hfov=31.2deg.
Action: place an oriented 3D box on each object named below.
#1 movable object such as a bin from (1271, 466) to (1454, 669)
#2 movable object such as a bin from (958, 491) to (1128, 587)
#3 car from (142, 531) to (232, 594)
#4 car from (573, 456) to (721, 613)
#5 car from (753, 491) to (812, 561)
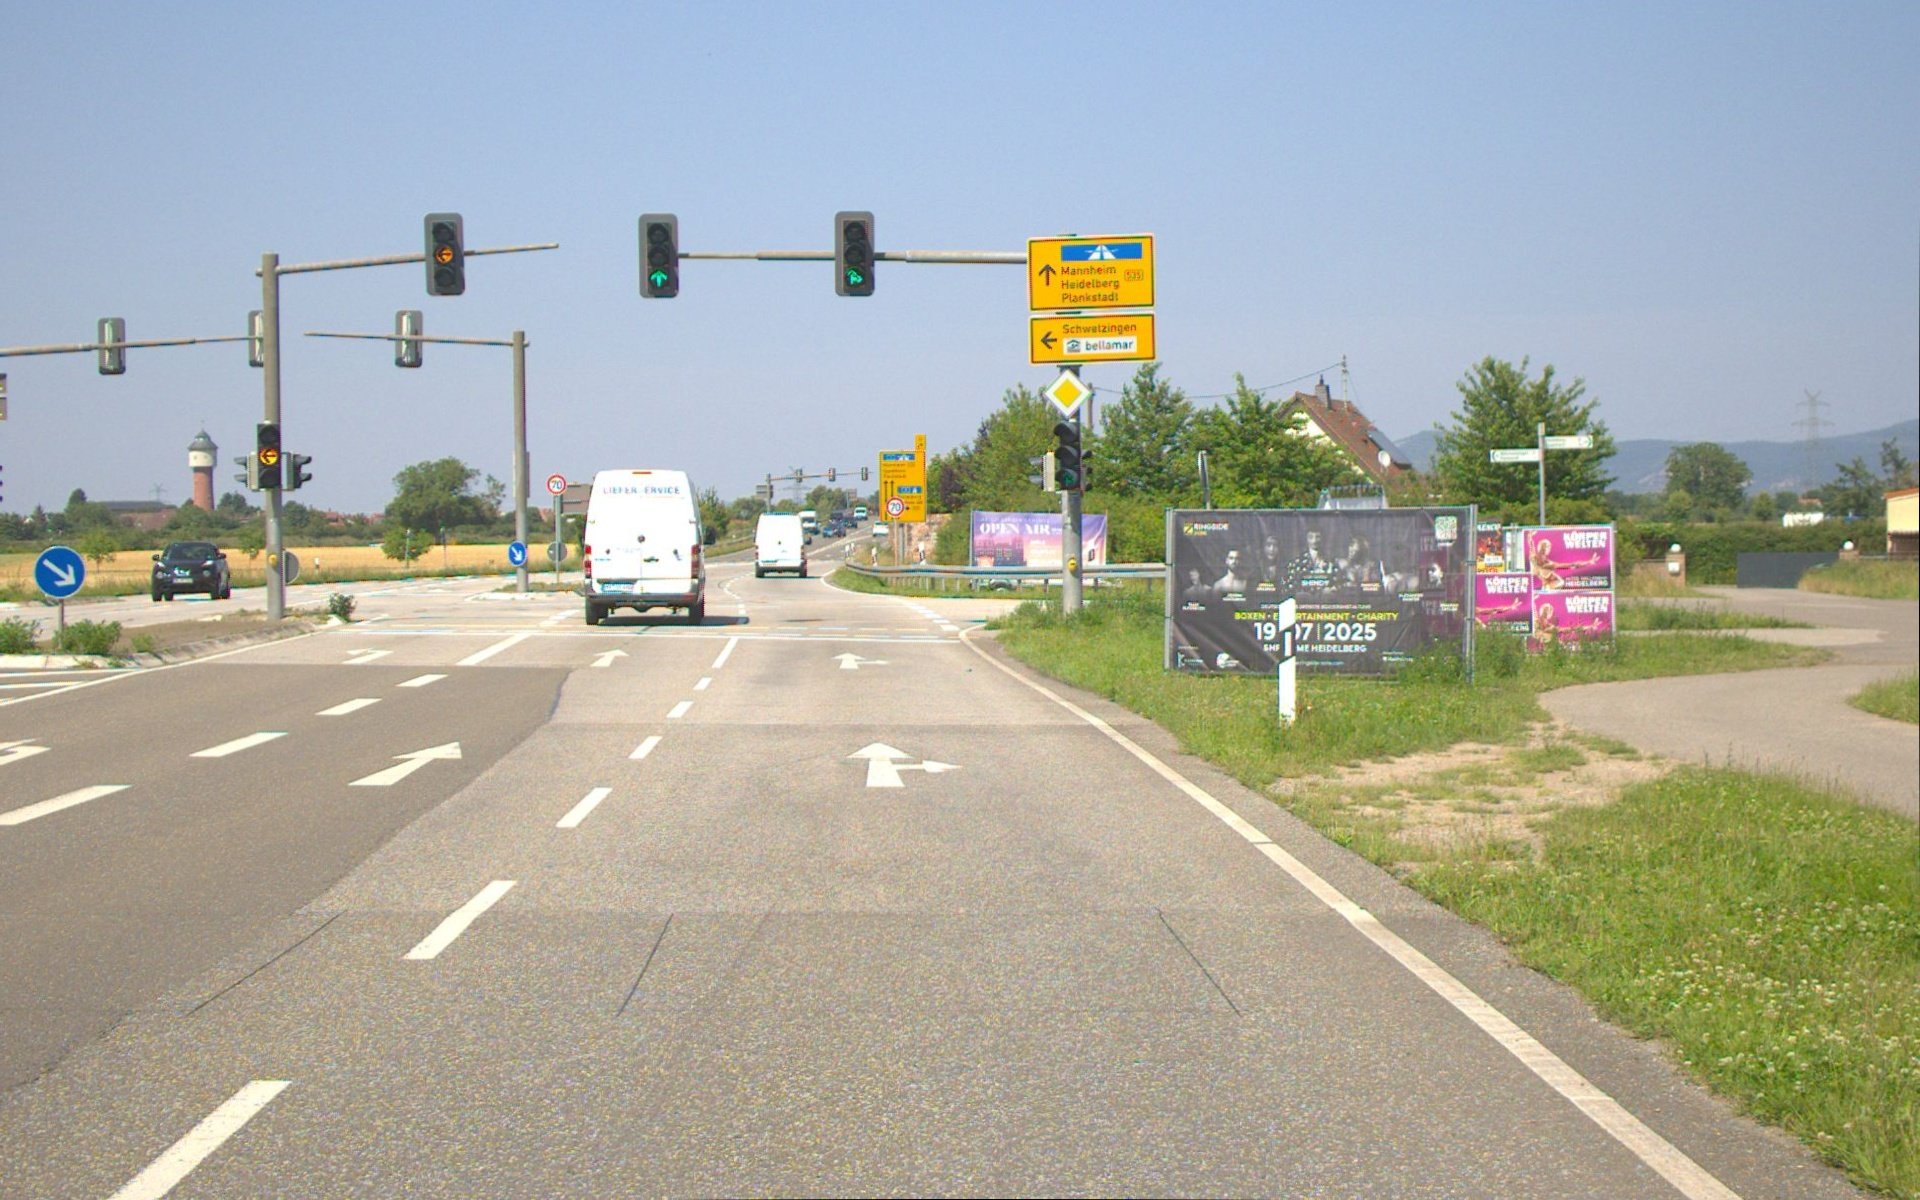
[{"bbox_3d":[5.024,-0.397,42.430,1.523,2.355,4.421,1,1,16],"label":"movable object such as a bin"},{"bbox_3d":[2.077,-1.528,86.633,4.093,2.323,1.278,1,1,-6],"label":"movable object such as a bin"},{"bbox_3d":[-20.413,-0.998,90.902,1.830,1.594,4.306,-1,1,-6],"label":"car"},{"bbox_3d":[-5.400,-1.163,60.024,2.039,2.611,5.741,0,1,0],"label":"car"},{"bbox_3d":[-7.084,-2.938,137.477,1.993,2.686,4.969,1,0,1],"label":"car"}]
